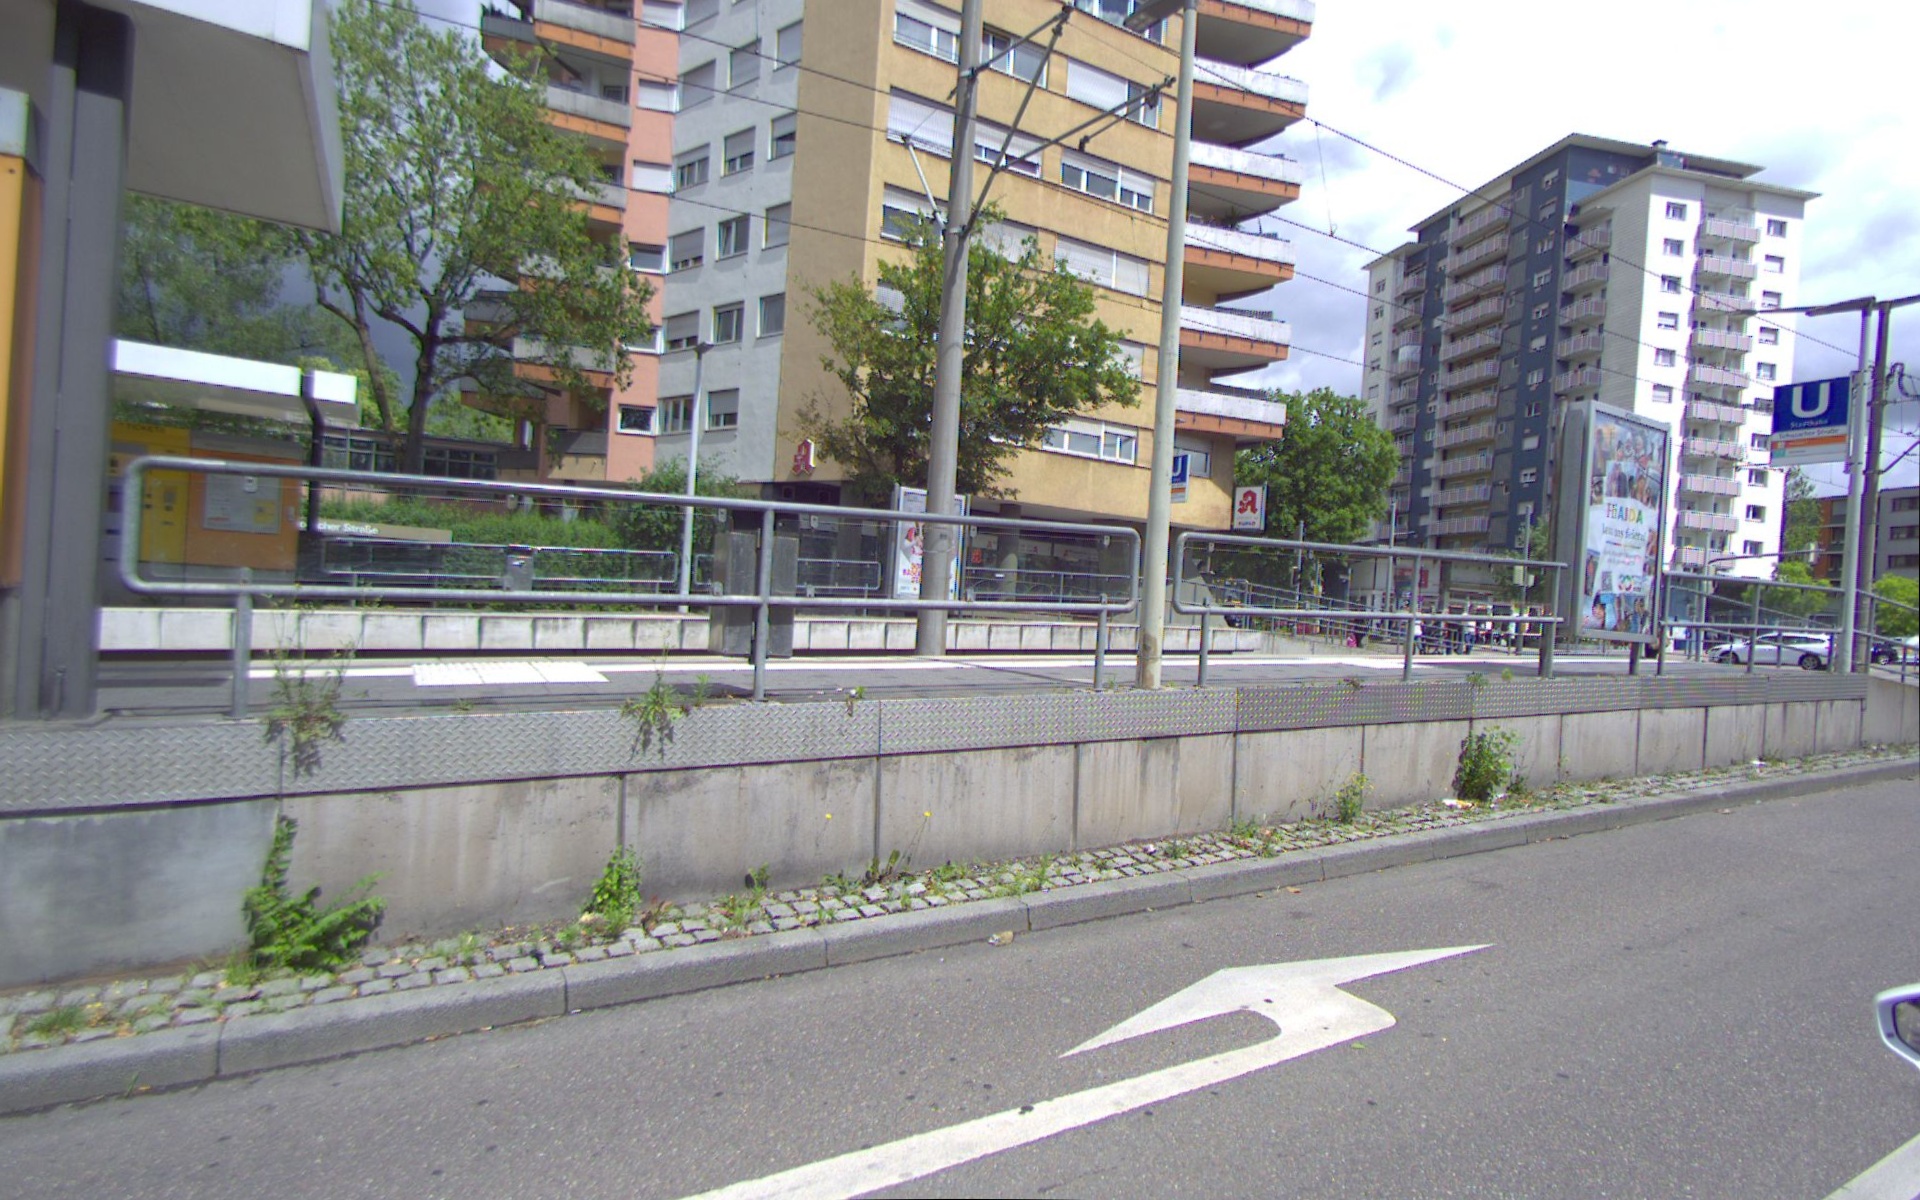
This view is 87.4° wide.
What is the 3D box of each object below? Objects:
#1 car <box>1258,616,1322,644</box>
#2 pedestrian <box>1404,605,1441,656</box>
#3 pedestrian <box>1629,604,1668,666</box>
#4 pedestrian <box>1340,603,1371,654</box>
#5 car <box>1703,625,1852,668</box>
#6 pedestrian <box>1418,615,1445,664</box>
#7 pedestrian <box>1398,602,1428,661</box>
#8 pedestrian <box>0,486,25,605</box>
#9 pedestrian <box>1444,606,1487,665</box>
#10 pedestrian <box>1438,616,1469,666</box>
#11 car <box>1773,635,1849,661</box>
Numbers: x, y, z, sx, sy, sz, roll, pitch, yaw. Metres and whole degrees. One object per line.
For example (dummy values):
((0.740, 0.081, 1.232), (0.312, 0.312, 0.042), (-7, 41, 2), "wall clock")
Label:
((21.310, 1.947, 65.029), (1.726, 1.702, 3.661), (2, -1, -33), "car")
((14.684, 0.960, 31.925), (0.614, 1.599, 0.857), (2, 0, -19), "pedestrian")
((18.671, 0.930, 27.258), (0.632, 1.654, 0.696), (1, -1, -36), "pedestrian")
((12.728, 0.917, 32.357), (0.759, 1.604, 0.610), (2, 0, 6), "pedestrian")
((33.891, 1.886, 41.730), (1.929, 1.546, 4.533), (2, -1, -40), "car")
((13.628, 1.133, 29.037), (0.543, 1.360, 0.669), (2, 0, 12), "pedestrian")
((13.715, 0.952, 30.422), (0.668, 1.729, 0.827), (2, 0, 17), "pedestrian")
((-10.530, -0.581, 10.800), (0.511, 1.253, 0.739), (1, 0, -29), "pedestrian")
((14.910, 1.041, 29.622), (0.681, 1.719, 0.854), (1, 0, -28), "pedestrian")
((13.732, 1.127, 27.944), (0.677, 1.360, 0.859), (2, 0, 30), "pedestrian")
((55.880, 3.137, 66.021), (1.602, 1.482, 3.576), (2, 0, -37), "car")
